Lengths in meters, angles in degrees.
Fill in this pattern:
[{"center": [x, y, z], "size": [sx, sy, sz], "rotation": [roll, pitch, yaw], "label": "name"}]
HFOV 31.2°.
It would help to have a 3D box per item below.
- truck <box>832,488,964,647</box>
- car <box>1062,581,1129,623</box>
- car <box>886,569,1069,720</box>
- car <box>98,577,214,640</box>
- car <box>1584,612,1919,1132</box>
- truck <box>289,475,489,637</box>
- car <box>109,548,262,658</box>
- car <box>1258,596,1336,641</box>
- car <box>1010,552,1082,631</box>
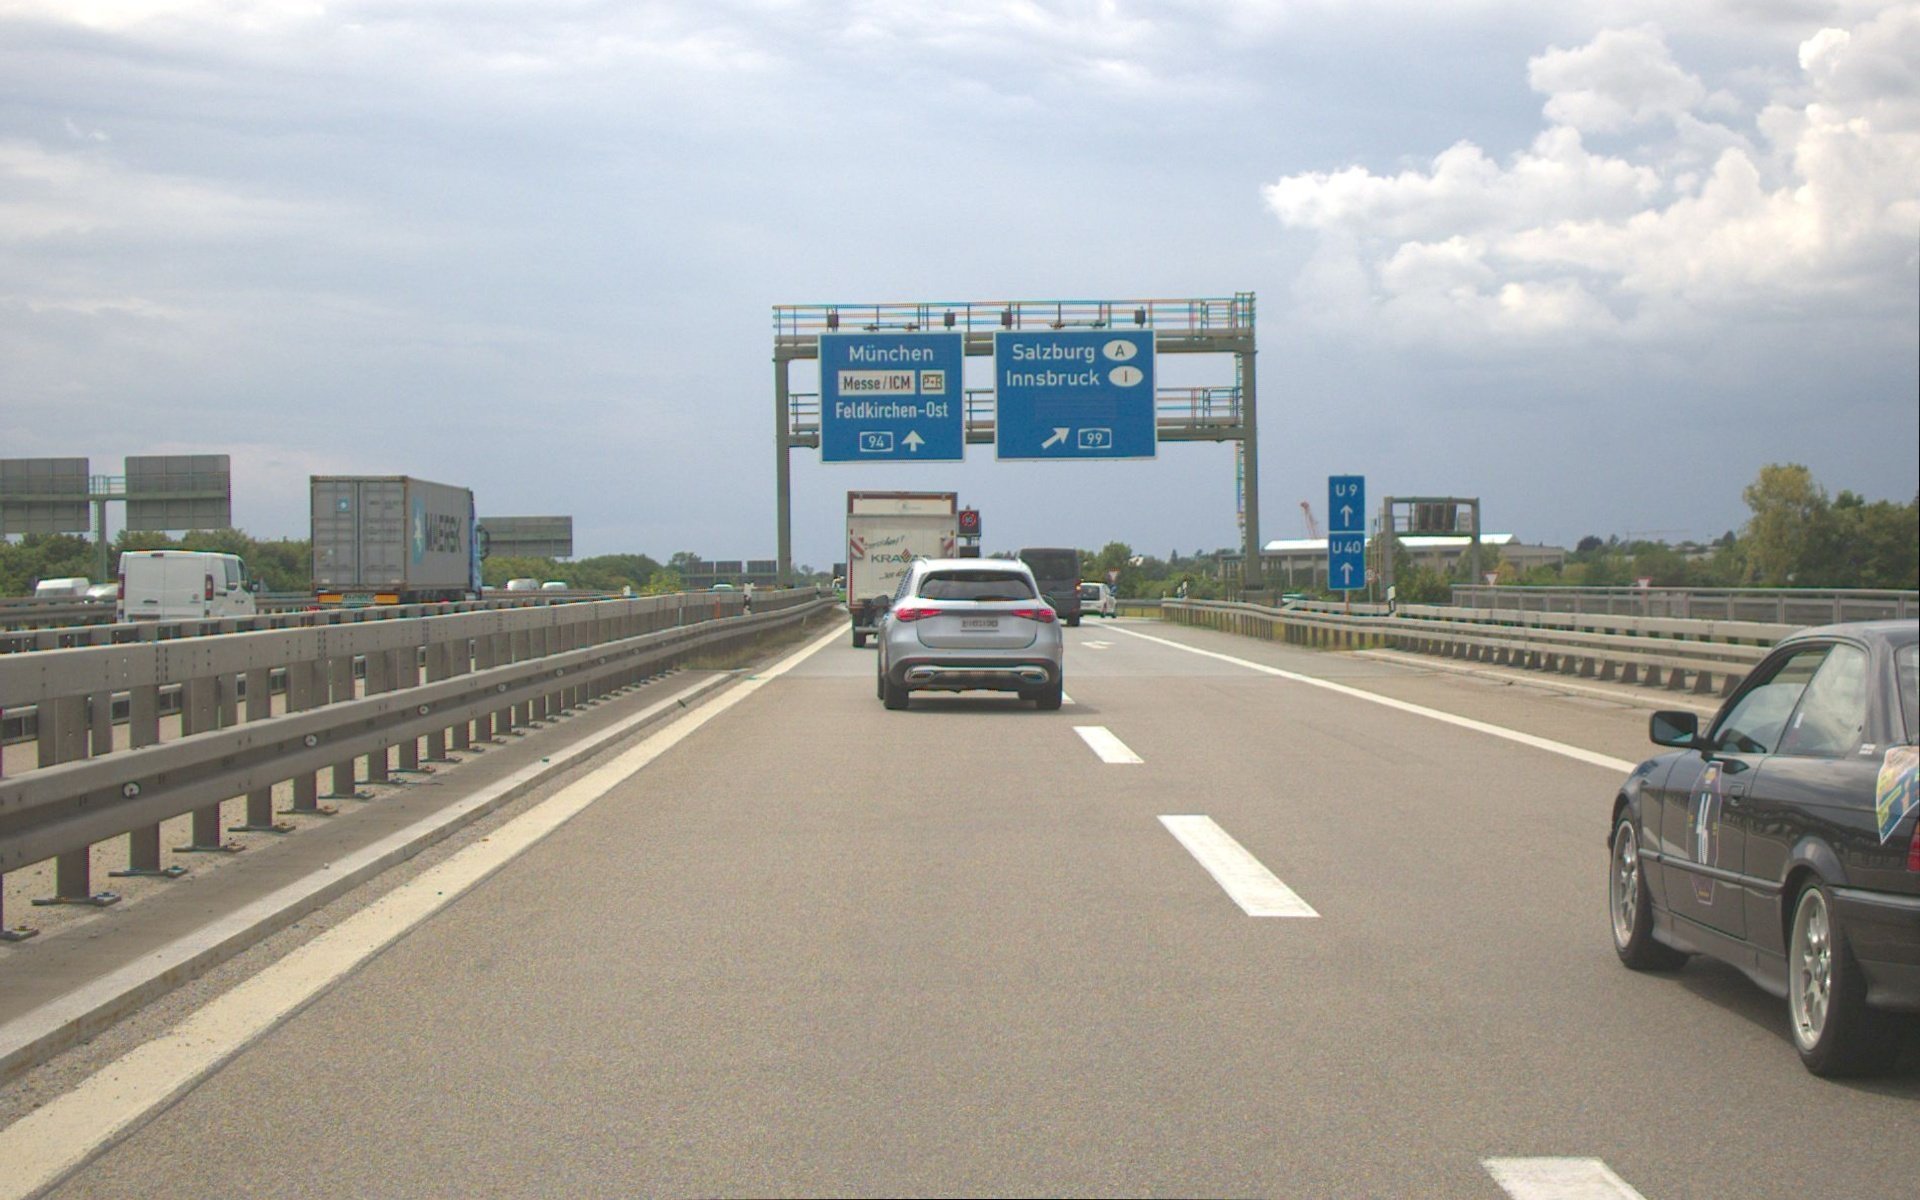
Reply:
[{"center": [-1.272, -0.621, 72.345], "size": [2.569, 3.115, 8.634], "rotation": [1, 0, -1], "label": "truck"}, {"center": [5.835, 0.077, 147.521], "size": [1.995, 1.703, 3.997], "rotation": [1, 1, 16], "label": "car"}, {"center": [0.138, 0.447, 37.665], "size": [1.819, 1.509, 4.001], "rotation": [1, 1, -2], "label": "car"}, {"center": [-19.384, 0.187, 83.069], "size": [1.798, 1.415, 4.000], "rotation": [1, 1, 1], "label": "car"}, {"center": [3.264, 0.736, 11.225], "size": [1.704, 1.277, 4.366], "rotation": [1, 1, 1], "label": "car"}, {"center": [-15.368, -1.249, 93.926], "size": [3.183, 4.005, 16.076], "rotation": [1, 1, -2], "label": "truck"}, {"center": [-14.912, 0.025, 66.408], "size": [1.993, 2.007, 4.374], "rotation": [1, 1, 0], "label": "car"}, {"center": [16.910, 0.927, 172.449], "size": [1.782, 2.007, 3.990], "rotation": [4, 0, 40], "label": "car"}, {"center": [2.542, -0.278, 102.823], "size": [1.906, 2.254, 4.649], "rotation": [1, 1, -1], "label": "car"}]
